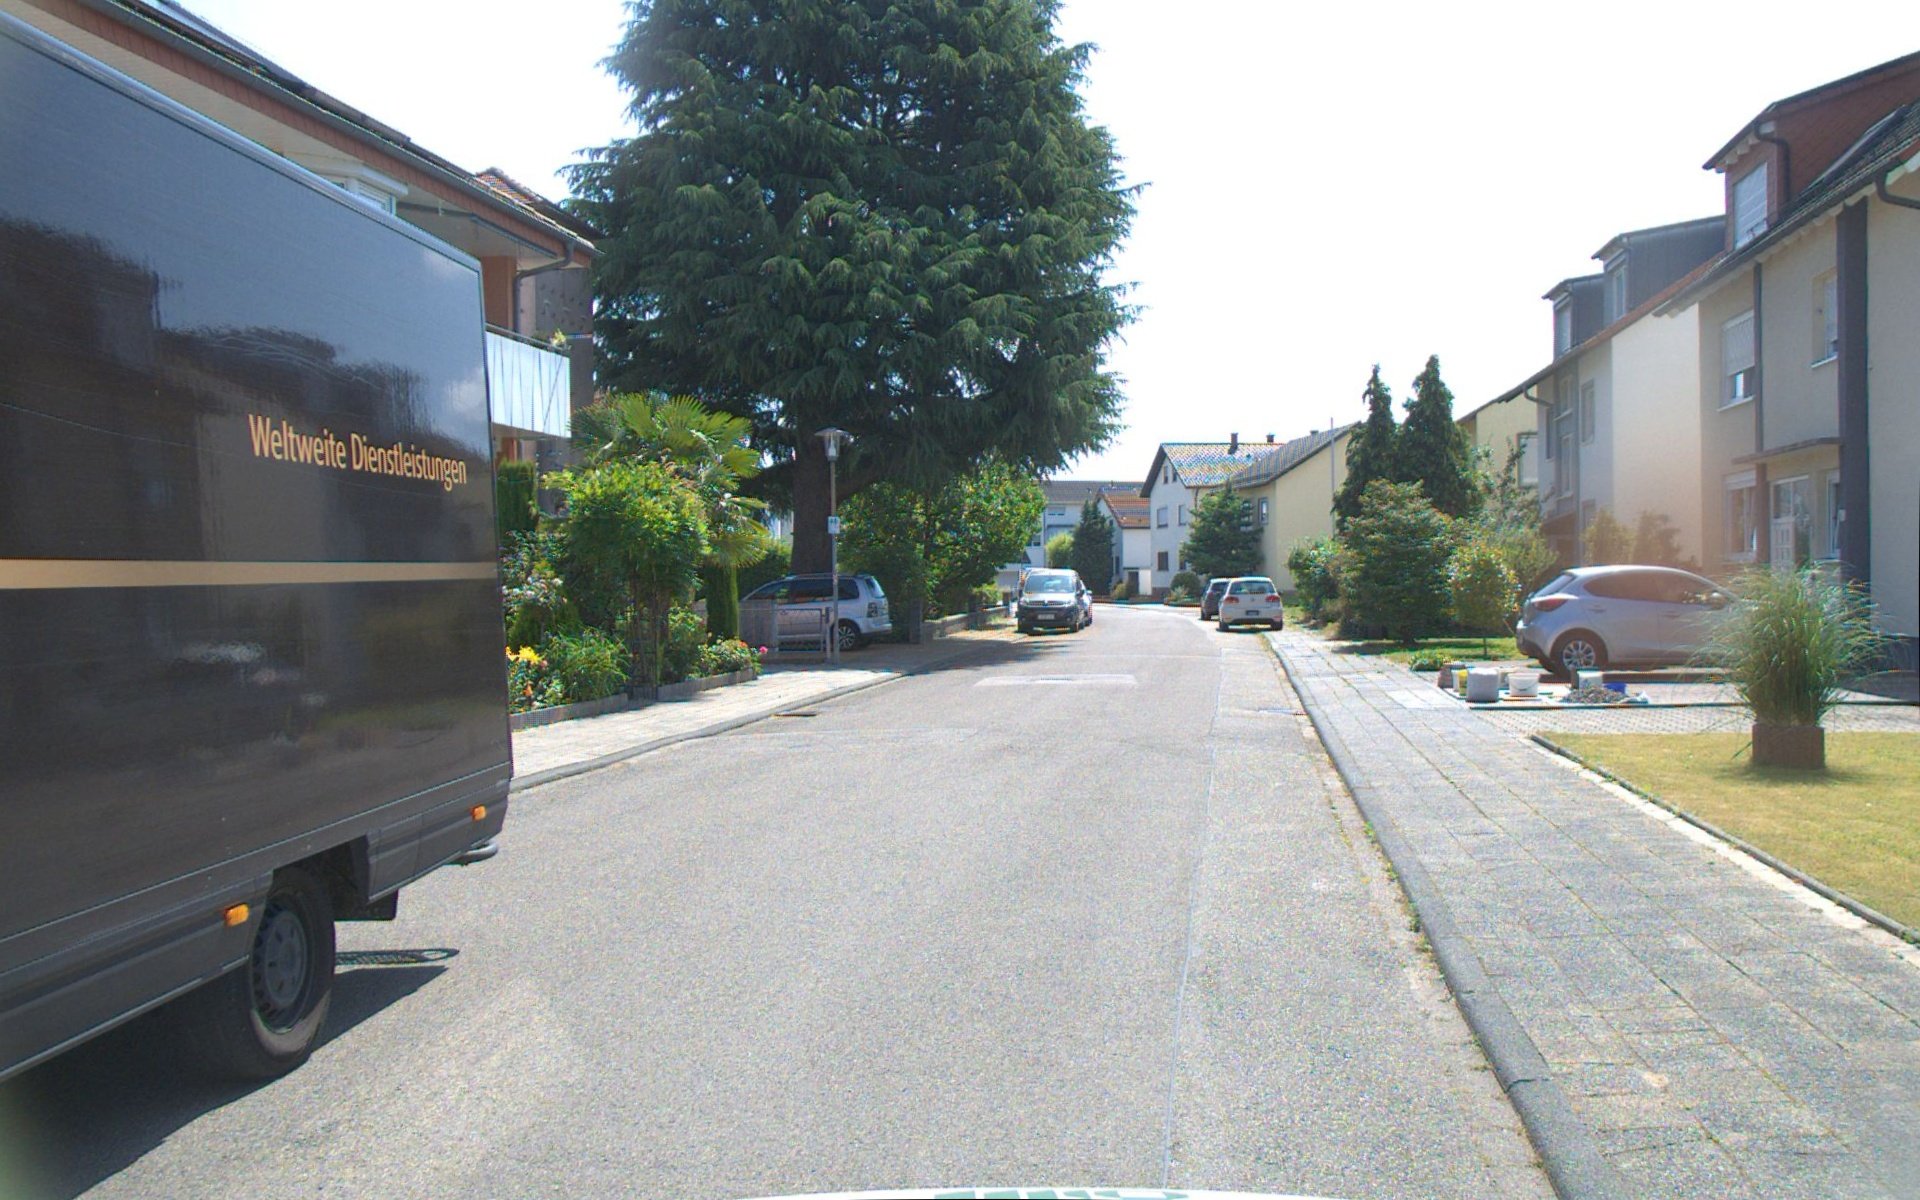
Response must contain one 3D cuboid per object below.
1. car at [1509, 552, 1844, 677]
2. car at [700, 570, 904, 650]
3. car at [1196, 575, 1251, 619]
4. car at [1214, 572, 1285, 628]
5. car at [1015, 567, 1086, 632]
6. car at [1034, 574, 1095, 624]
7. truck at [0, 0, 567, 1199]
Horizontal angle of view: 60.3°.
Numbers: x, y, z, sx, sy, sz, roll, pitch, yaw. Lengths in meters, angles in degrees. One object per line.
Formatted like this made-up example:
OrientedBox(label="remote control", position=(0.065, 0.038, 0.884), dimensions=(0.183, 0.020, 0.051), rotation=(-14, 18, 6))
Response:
OrientedBox(label="car", position=(9.592, 0.189, 22.416), dimensions=(3.830, 1.536, 1.775), rotation=(-2, 1, 10))
OrientedBox(label="car", position=(-3.473, 0.220, 36.644), dimensions=(4.103, 1.682, 1.816), rotation=(-1, 1, 12))
OrientedBox(label="car", position=(9.558, -0.135, 60.236), dimensions=(1.769, 1.521, 4.003), rotation=(-1, 1, 7))
OrientedBox(label="car", position=(8.308, -0.023, 47.719), dimensions=(1.769, 1.521, 4.003), rotation=(-1, 1, 7))
OrientedBox(label="car", position=(2.678, -0.050, 48.069), dimensions=(1.769, 1.793, 4.210), rotation=(-1, 1, 7))
OrientedBox(label="car", position=(3.445, -0.065, 53.980), dimensions=(1.769, 1.521, 4.003), rotation=(-1, 1, 7))
OrientedBox(label="truck", position=(-3.213, 0.097, 3.551), dimensions=(2.383, 2.836, 7.302), rotation=(-4, 0, 4))
